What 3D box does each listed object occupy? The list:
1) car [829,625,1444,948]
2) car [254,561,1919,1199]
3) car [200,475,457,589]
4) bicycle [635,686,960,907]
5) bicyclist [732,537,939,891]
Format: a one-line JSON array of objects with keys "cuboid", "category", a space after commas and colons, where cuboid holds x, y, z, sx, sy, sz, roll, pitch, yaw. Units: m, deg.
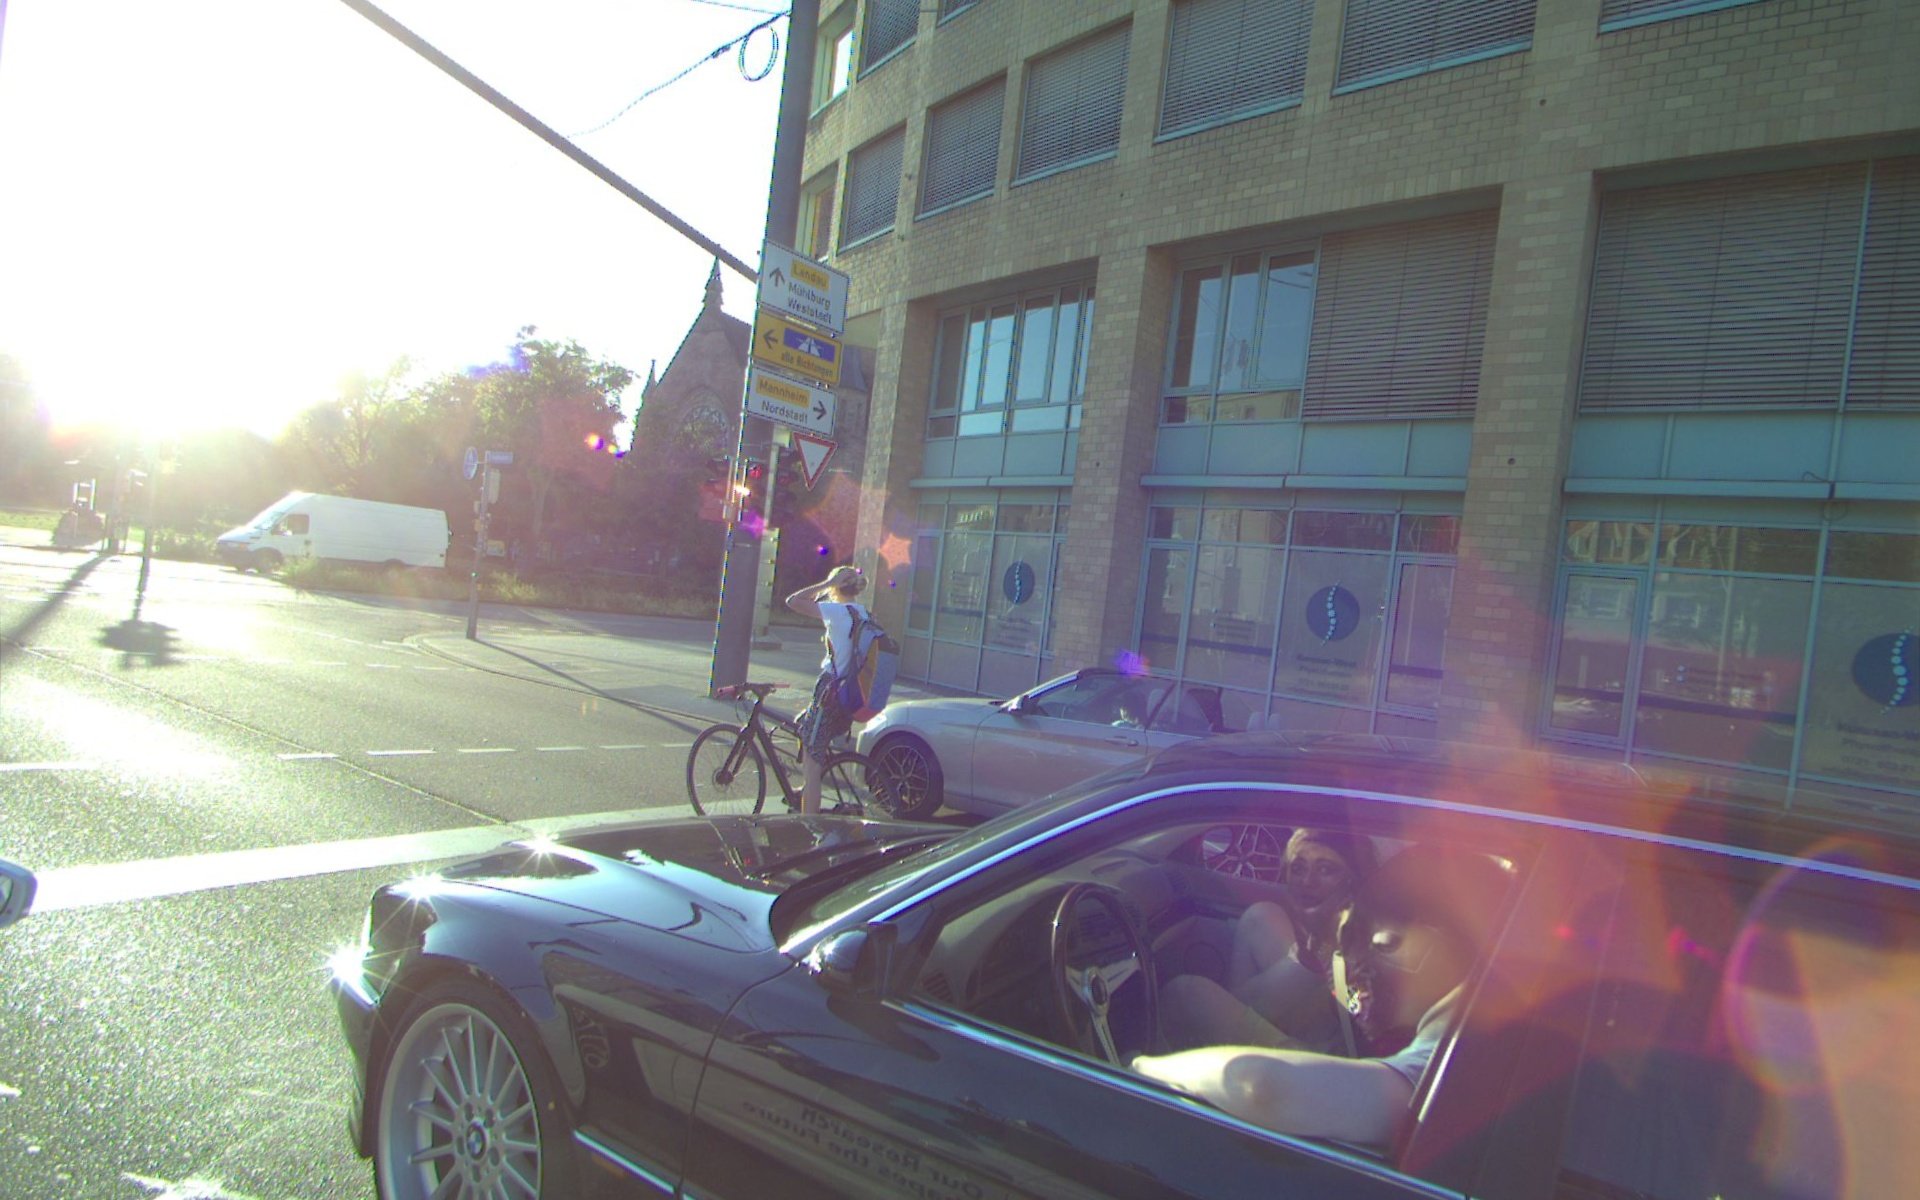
[{"cuboid": [1.244, 1.193, 7.680, 4.157, 1.401, 1.747, 7, -1, 31], "category": "car"}, {"cuboid": [0.888, 0.930, 2.004, 4.661, 1.402, 1.997, 7, -1, 32], "category": "car"}, {"cuboid": [-21.301, -2.179, 34.411, 2.059, 2.862, 7.017, 7, 0, 33], "category": "car"}, {"cuboid": [-0.996, 1.086, 5.973, 1.838, 0.884, 0.634, 7, 0, 30], "category": "bicycle"}, {"cuboid": [-0.715, 0.620, 5.826, 0.764, 1.843, 0.634, 7, 1, 30], "category": "bicyclist"}]
